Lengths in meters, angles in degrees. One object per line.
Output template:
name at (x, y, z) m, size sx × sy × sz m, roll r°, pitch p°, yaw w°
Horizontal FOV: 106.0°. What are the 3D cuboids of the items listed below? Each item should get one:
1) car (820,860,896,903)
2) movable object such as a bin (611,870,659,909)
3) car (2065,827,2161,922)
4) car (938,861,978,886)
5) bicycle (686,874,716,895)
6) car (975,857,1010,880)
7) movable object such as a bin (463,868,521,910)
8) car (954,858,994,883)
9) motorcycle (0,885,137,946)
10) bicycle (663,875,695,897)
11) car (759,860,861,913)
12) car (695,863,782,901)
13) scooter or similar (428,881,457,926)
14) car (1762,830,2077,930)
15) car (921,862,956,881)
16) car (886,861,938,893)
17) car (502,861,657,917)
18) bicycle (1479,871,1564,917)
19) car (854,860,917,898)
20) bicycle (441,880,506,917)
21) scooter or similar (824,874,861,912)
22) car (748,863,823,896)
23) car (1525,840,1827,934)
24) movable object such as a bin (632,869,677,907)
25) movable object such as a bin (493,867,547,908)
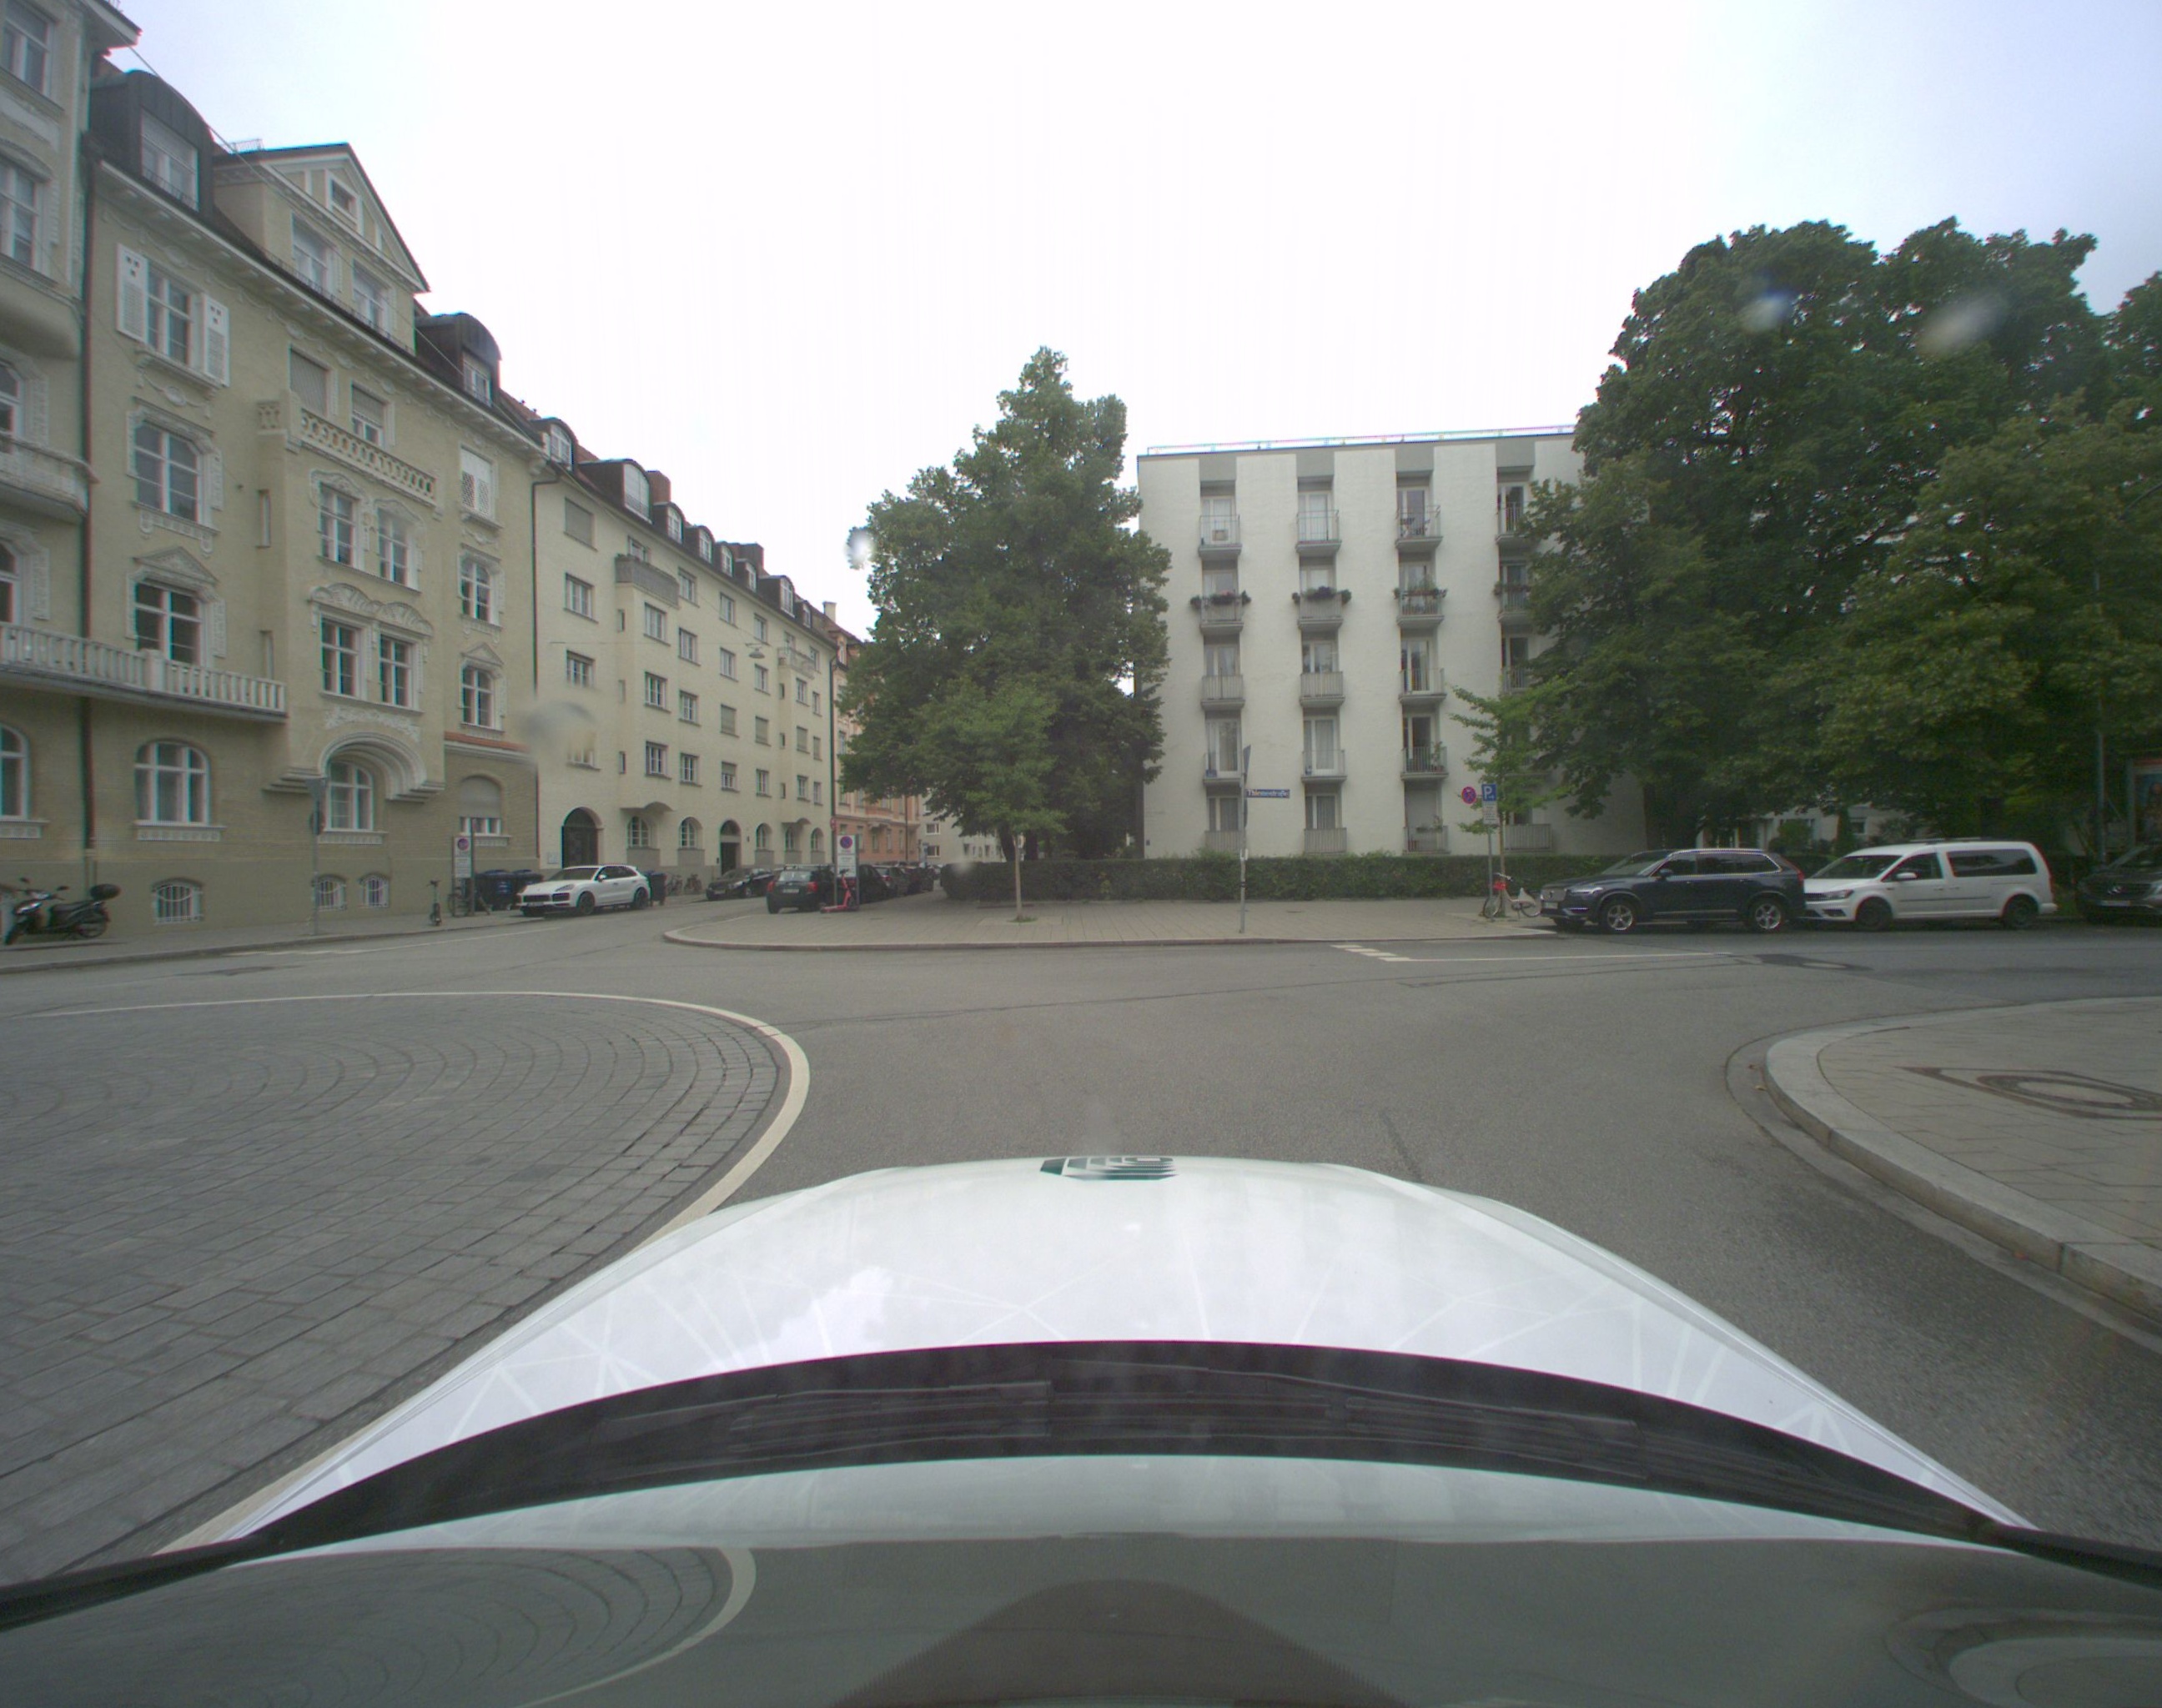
car at (-8.711, 1.040, 32.184) m, size 1.787 × 1.505 × 4.234 m, roll -2°, pitch 0°, yaw 0°
movable object such as a bin at (-17.039, 1.331, 31.135) m, size 1.085 × 1.425 × 1.176 m, roll -1°, pitch 0°, yaw 7°
car at (24.578, 0.395, 17.389) m, size 5.181 × 1.933 × 1.890 m, roll -1°, pitch -1°, yaw -4°
car at (-8.036, 1.246, 53.679) m, size 1.828 × 1.505 × 4.117 m, roll -2°, pitch 0°, yaw 2°
bicycle at (-19.851, 1.587, 42.617) m, size 0.560 × 1.049 × 1.833 m, roll -1°, pitch 0°, yaw 4°
car at (-6.921, 1.119, 63.918) m, size 1.825 × 1.634 × 3.828 m, roll -2°, pitch 0°, yaw 8°
movable object such as a bin at (-20.586, 1.207, 28.492) m, size 1.085 × 1.425 × 1.176 m, roll -1°, pitch 0°, yaw 7°
car at (-7.623, 1.125, 58.281) m, size 1.826 × 1.634 × 4.122 m, roll -2°, pitch 0°, yaw 6°
motorcycle at (-21.962, 1.298, 17.726) m, size 0.595 × 1.176 × 1.833 m, roll -1°, pitch 0°, yaw 4°
bicycle at (-20.010, 1.586, 40.600) m, size 0.560 × 1.049 × 1.833 m, roll -1°, pitch 0°, yaw 4°
car at (-8.804, 0.996, 26.920) m, size 1.813 × 1.505 × 4.422 m, roll -2°, pitch 0°, yaw 0°
car at (-15.988, 1.257, 38.304) m, size 1.968 × 1.616 × 4.715 m, roll -1°, pitch 0°, yaw 2°
scooter or similar at (-17.711, 1.364, 22.594) m, size 1.200 × 1.193 × 0.470 m, roll -1°, pitch -1°, yaw 44°
car at (17.628, 0.541, 17.297) m, size 4.818 × 1.918 × 1.835 m, roll -1°, pitch -1°, yaw -1°
car at (-12.793, 1.574, 73.360) m, size 1.965 × 1.581 × 4.416 m, roll -1°, pitch 0°, yaw 7°
car at (-8.753, 1.144, 42.573) m, size 1.787 × 1.505 × 4.115 m, roll -2°, pitch 0°, yaw 0°
car at (-16.873, 1.113, 27.761) m, size 1.966 × 1.701 × 4.846 m, roll -1°, pitch 0°, yaw 4°
bicycle at (10.664, 0.962, 19.727) m, size 1.822 × 1.049 × 0.491 m, roll -1°, pitch 0°, yaw -6°
car at (-8.757, 1.085, 36.777) m, size 1.787 × 1.505 × 4.115 m, roll -2°, pitch 0°, yaw 0°
bicycle at (-19.029, 1.389, 25.557) m, size 0.560 × 1.049 × 1.833 m, roll -1°, pitch 0°, yaw 4°
scooter or similar at (-7.034, 1.137, 24.024) m, size 1.003 × 1.088 × 0.388 m, roll -1°, pitch -1°, yaw -23°
car at (-15.585, 1.318, 43.179) m, size 1.965 × 1.581 × 4.416 m, roll -1°, pitch 0°, yaw 6°
car at (12.340, 0.672, 17.157) m, size 4.880 × 1.792 × 2.000 m, roll -1°, pitch -1°, yaw 0°
movable object such as a bin at (-16.906, 1.338, 32.321) m, size 1.085 × 1.425 × 1.176 m, roll -1°, pitch 0°, yaw 7°
movable object such as a bin at (-20.439, 1.196, 29.682) m, size 1.085 × 1.425 × 1.176 m, roll -1°, pitch 0°, yaw 7°
